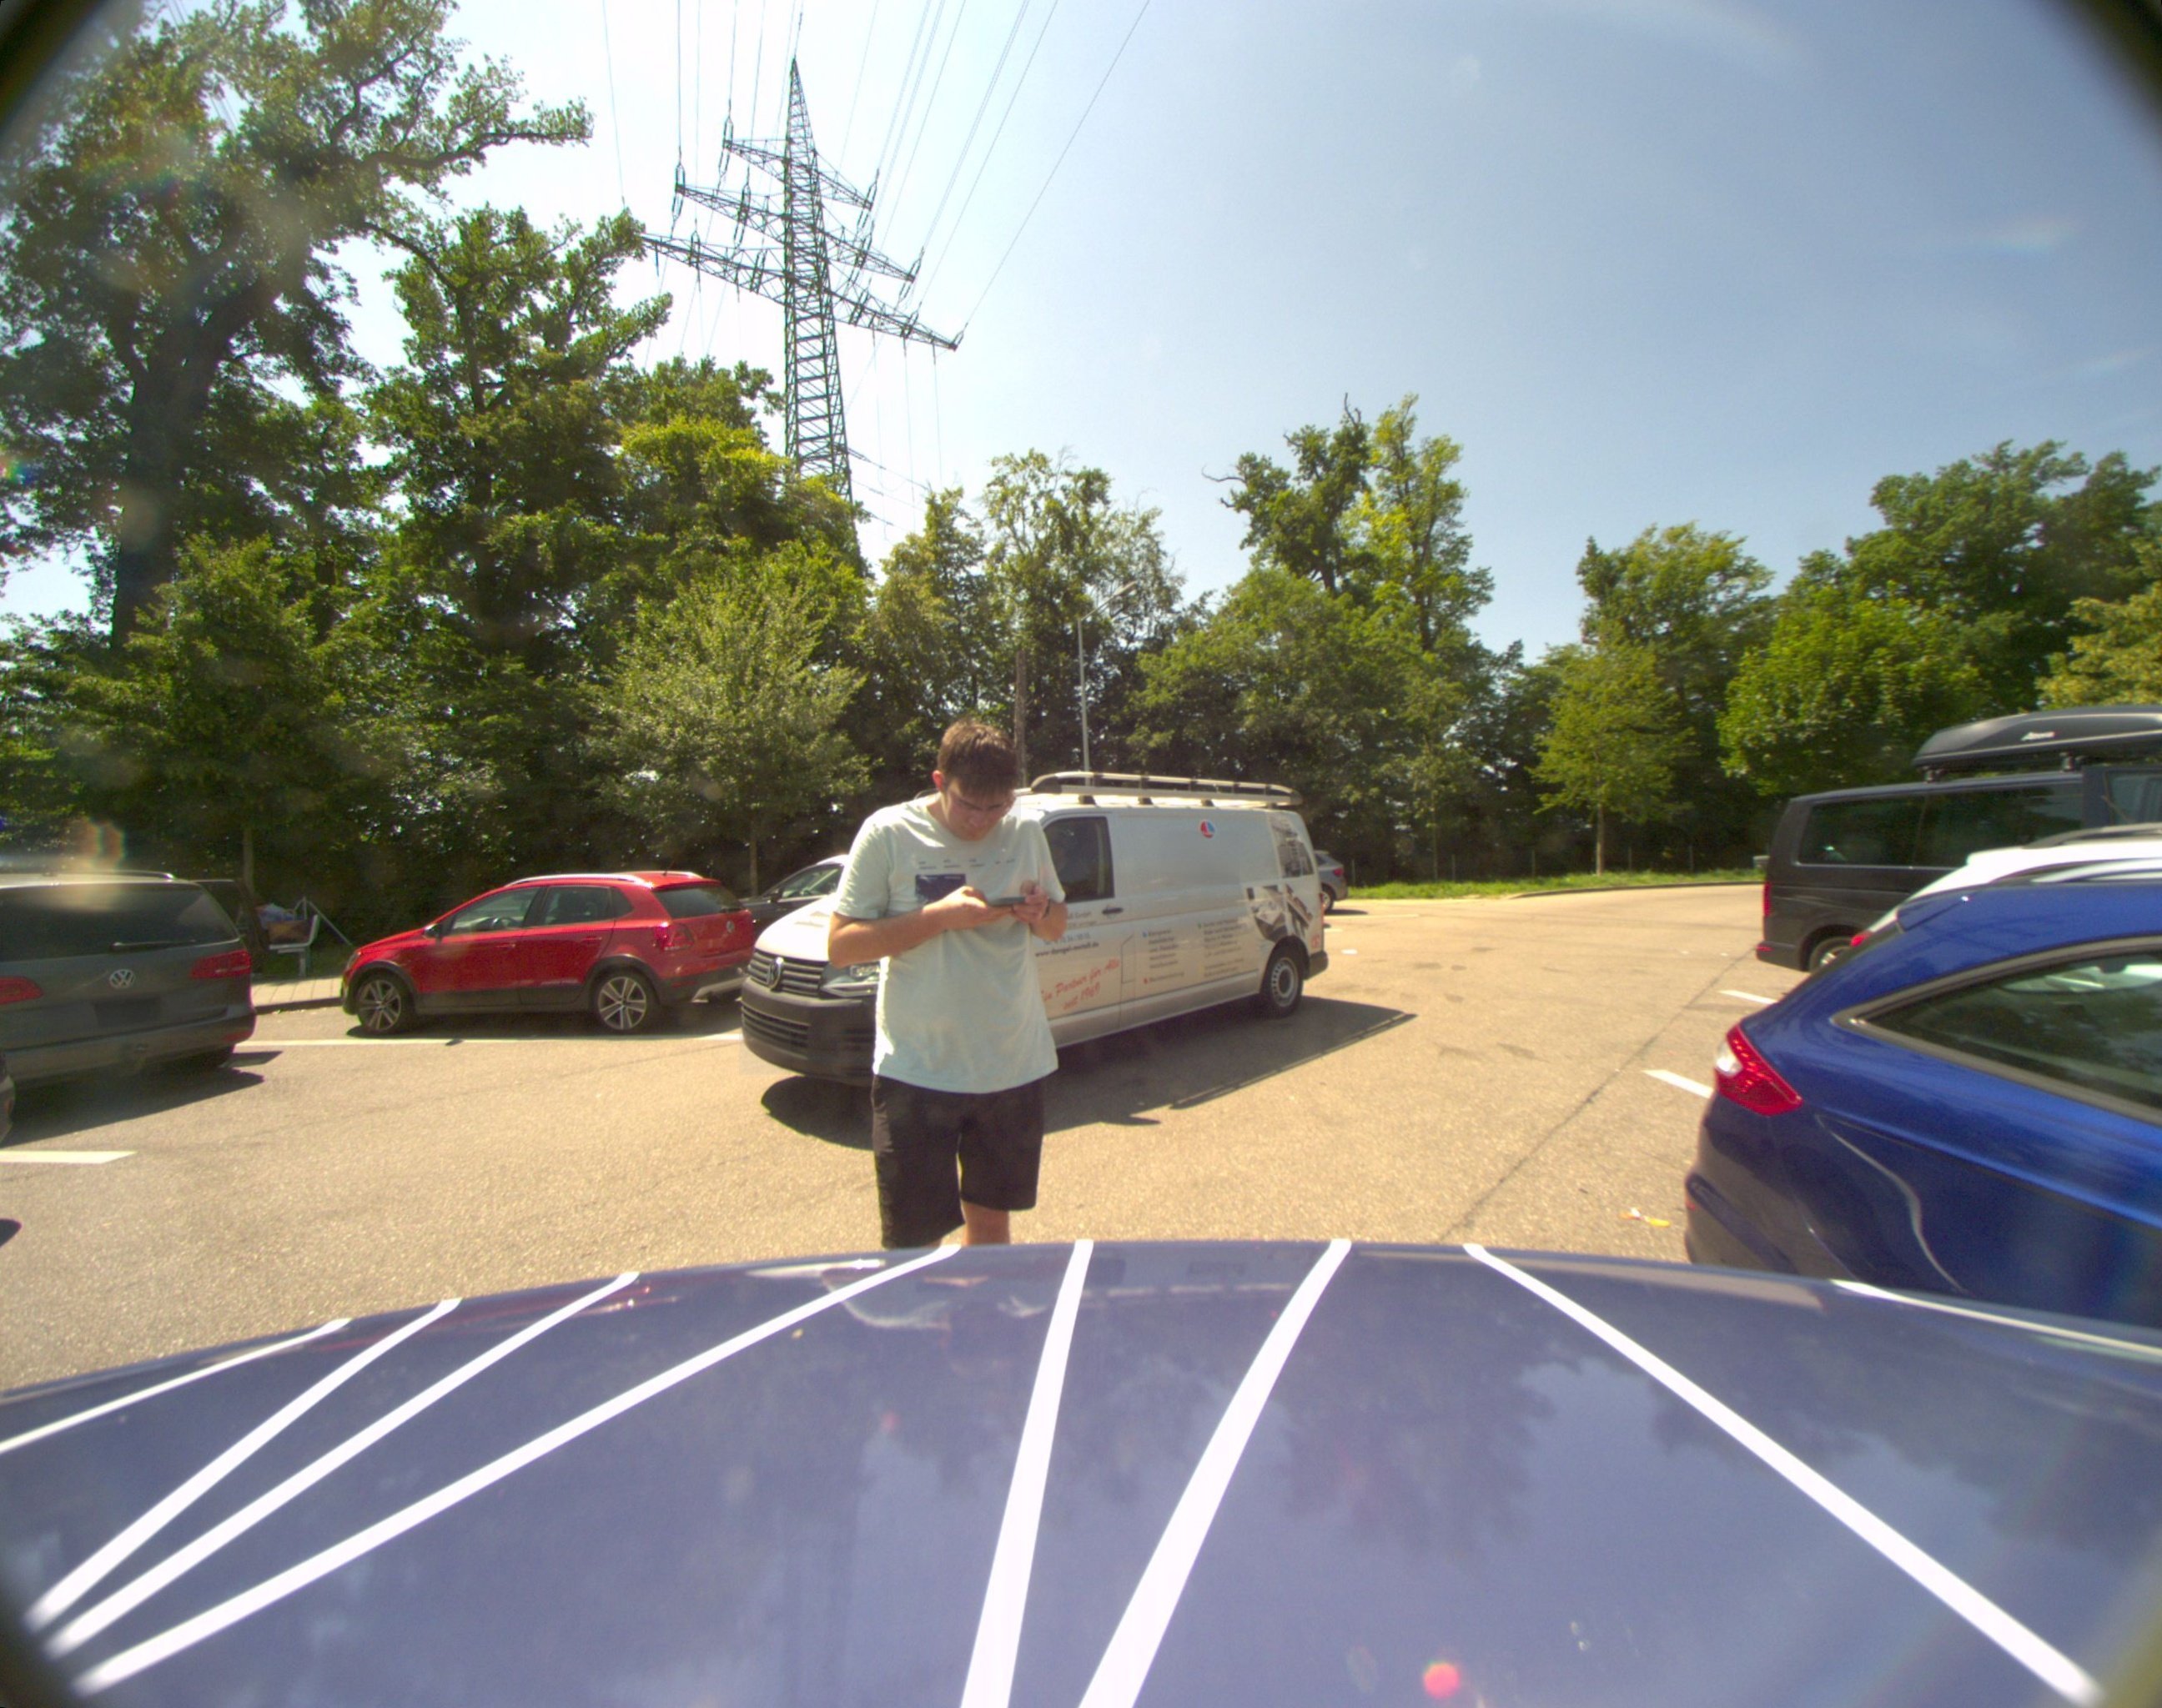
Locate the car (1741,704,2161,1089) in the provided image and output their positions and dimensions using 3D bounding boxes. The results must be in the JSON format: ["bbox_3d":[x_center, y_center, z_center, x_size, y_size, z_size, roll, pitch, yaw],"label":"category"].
[{"bbox_3d":[7.311,0.239,5.180,1.788,2.304,4.084,-2,0,-5],"label":"car"}]

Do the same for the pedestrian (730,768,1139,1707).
[{"bbox_3d":[-0.370,0.749,1.857,0.741,1.818,0.613,-2,0,-34],"label":"pedestrian"}]

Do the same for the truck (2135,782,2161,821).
[{"bbox_3d":[40.198,-1.960,27.065,1.168,1.367,2.882,-2,-1,-19],"label":"truck"}]

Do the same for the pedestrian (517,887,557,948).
[{"bbox_3d":[-11.003,1.279,15.363,0.413,1.186,0.443,-2,1,12],"label":"pedestrian"}]

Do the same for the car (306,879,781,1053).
[{"bbox_3d":[-5.254,1.067,7.689,3.745,1.458,1.621,-2,0,7],"label":"car"}]

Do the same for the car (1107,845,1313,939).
[{"bbox_3d":[2.531,0.730,15.448,3.850,1.678,1.755,-2,0,4],"label":"car"}]

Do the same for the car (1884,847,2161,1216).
[{"bbox_3d":[4.689,0.654,2.238,1.344,1.352,3.114,-2,0,1],"label":"car"}]

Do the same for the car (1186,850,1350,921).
[{"bbox_3d":[4.348,0.726,18.119,3.585,1.493,1.707,-2,1,8],"label":"car"}]

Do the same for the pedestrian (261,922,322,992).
[{"bbox_3d":[-10.852,1.400,10.460,0.503,0.874,0.512,-2,0,-39],"label":"pedestrian"}]

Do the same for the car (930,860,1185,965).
[{"bbox_3d":[-0.297,0.891,12.218,3.773,1.445,1.848,-2,0,4],"label":"car"}]

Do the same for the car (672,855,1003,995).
[{"bbox_3d":[-3.111,0.888,10.291,3.866,1.607,1.709,-2,0,0],"label":"car"}]

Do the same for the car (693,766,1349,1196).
[{"bbox_3d":[0.058,0.582,6.253,5.445,2.092,1.839,-1,1,-45],"label":"car"}]

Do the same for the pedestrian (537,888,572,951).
[{"bbox_3d":[-10.103,1.252,14.591,0.366,1.186,0.356,-2,1,21],"label":"pedestrian"}]

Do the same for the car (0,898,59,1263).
[{"bbox_3d":[-6.438,1.048,1.928,4.173,1.607,1.835,-2,0,-25],"label":"car"}]

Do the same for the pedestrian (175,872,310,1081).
[{"bbox_3d":[-7.335,1.033,6.664,0.481,1.712,0.589,-2,1,22],"label":"pedestrian"}]

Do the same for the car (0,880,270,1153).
[{"bbox_3d":[-8.441,1.084,5.446,3.903,1.607,1.705,-2,1,11],"label":"car"}]
